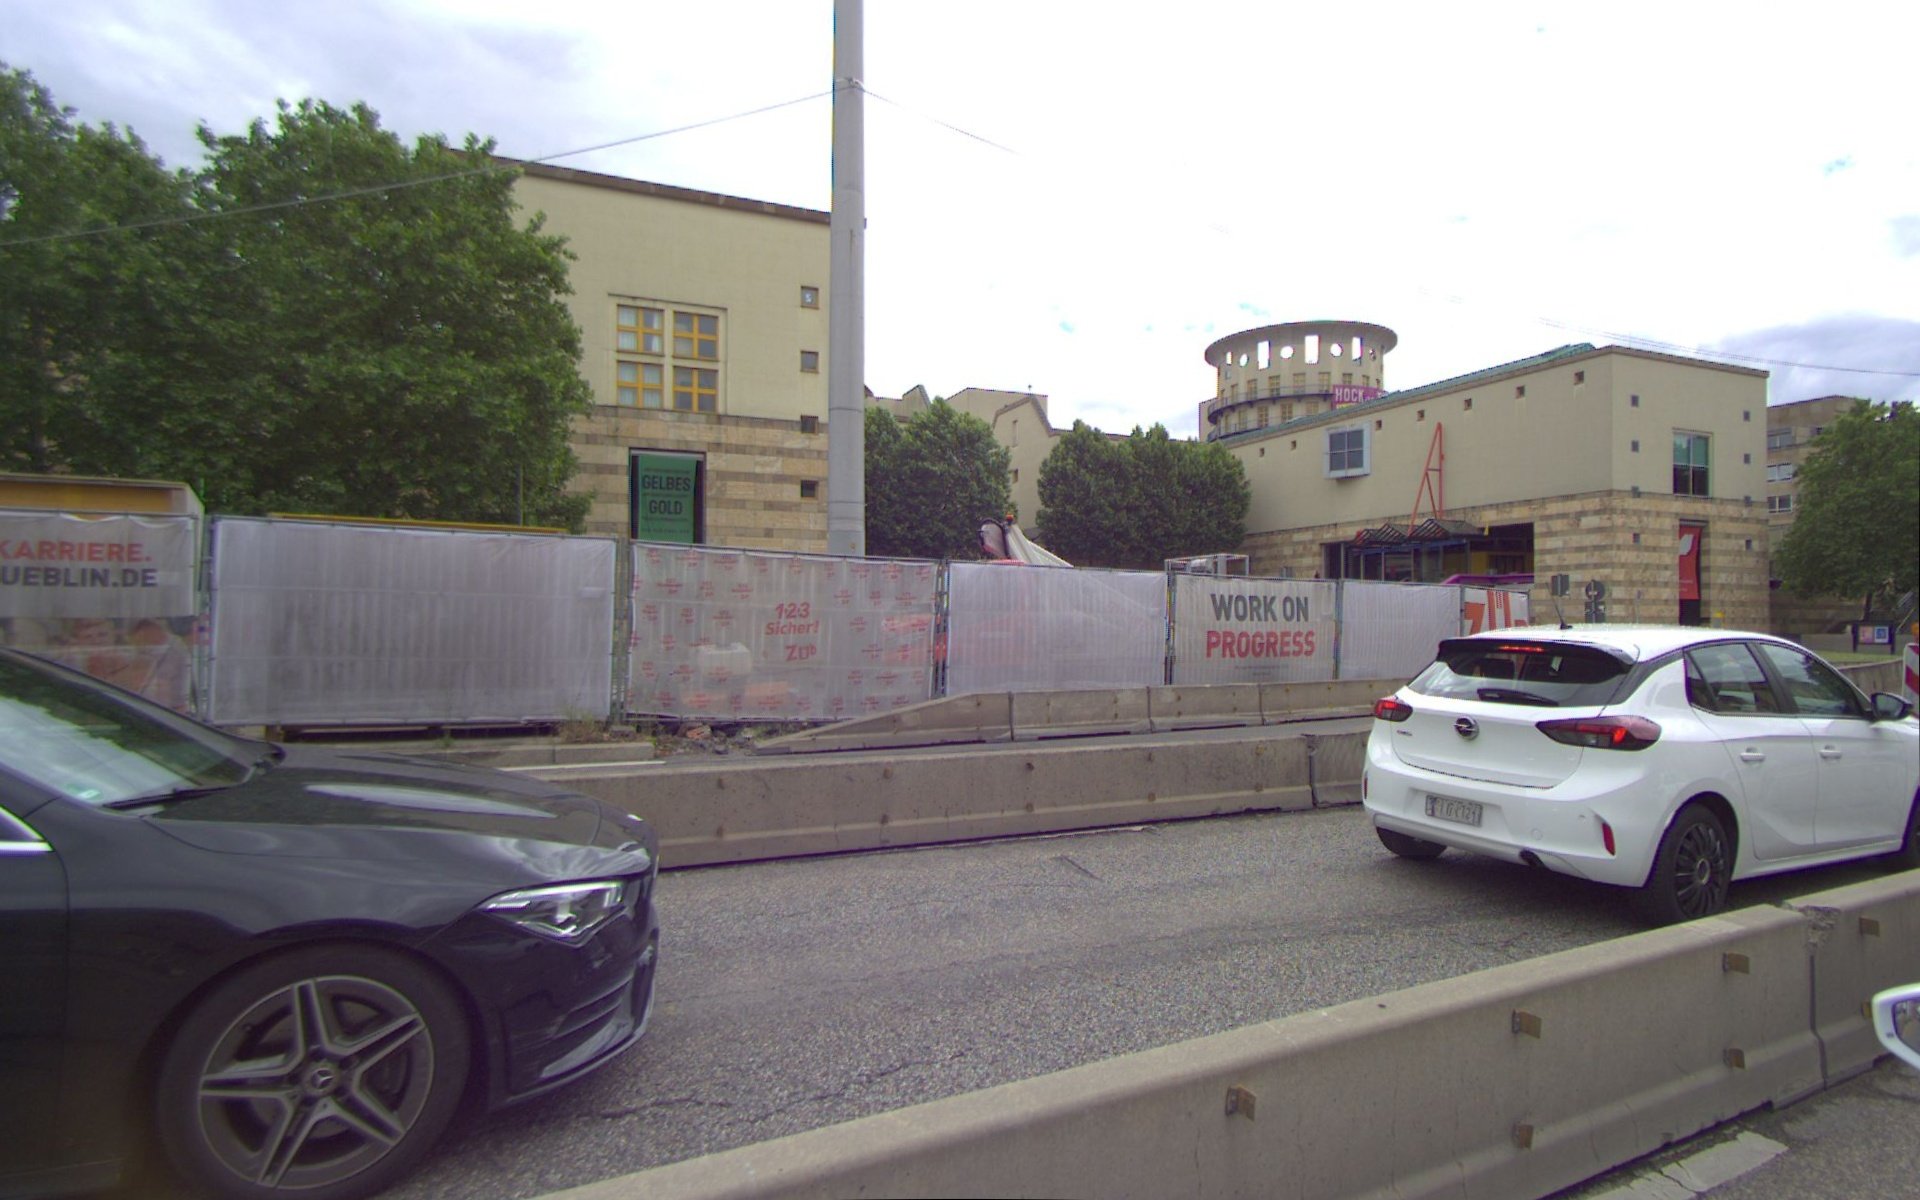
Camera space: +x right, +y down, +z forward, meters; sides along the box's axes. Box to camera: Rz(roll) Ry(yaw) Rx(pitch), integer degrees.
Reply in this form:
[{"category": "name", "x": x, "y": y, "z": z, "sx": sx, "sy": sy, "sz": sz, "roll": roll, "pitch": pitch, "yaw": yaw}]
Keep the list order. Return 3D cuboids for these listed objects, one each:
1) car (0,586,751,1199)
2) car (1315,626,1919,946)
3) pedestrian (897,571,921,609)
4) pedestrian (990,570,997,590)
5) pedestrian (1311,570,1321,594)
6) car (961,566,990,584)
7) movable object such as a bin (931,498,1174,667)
[{"category": "car", "x": -2.999, "y": 0.683, "z": 2.604, "sx": 4.505, "sy": 1.434, "sz": 1.848, "roll": 1, "pitch": 0, "yaw": -26}, {"category": "car", "x": 4.175, "y": 0.864, "z": 5.997, "sx": 3.886, "sy": 1.313, "sz": 1.719, "roll": 2, "pitch": 0, "yaw": -29}, {"category": "pedestrian", "x": -2.806, "y": -0.550, "z": 55.433, "sx": 1.076, "sy": 2.041, "sz": 0.917, "roll": 1, "pitch": 1, "yaw": -19}, {"category": "pedestrian", "x": 3.188, "y": -1.903, "z": 95.766, "sx": 0.534, "sy": 1.808, "sz": 0.465, "roll": 1, "pitch": 0, "yaw": -20}, {"category": "pedestrian", "x": 31.061, "y": -1.570, "z": 87.673, "sx": 0.592, "sy": 2.041, "sz": 0.410, "roll": 1, "pitch": 1, "yaw": -24}, {"category": "car", "x": 1.638, "y": -2.615, "z": 105.096, "sx": 1.588, "sy": 1.822, "sz": 3.785, "roll": 1, "pitch": 1, "yaw": -23}, {"category": "movable object such as a bin", "x": 1.360, "y": -0.202, "z": 14.675, "sx": 3.252, "sy": 2.214, "sz": 1.515, "roll": 1, "pitch": -1, "yaw": -28}]
